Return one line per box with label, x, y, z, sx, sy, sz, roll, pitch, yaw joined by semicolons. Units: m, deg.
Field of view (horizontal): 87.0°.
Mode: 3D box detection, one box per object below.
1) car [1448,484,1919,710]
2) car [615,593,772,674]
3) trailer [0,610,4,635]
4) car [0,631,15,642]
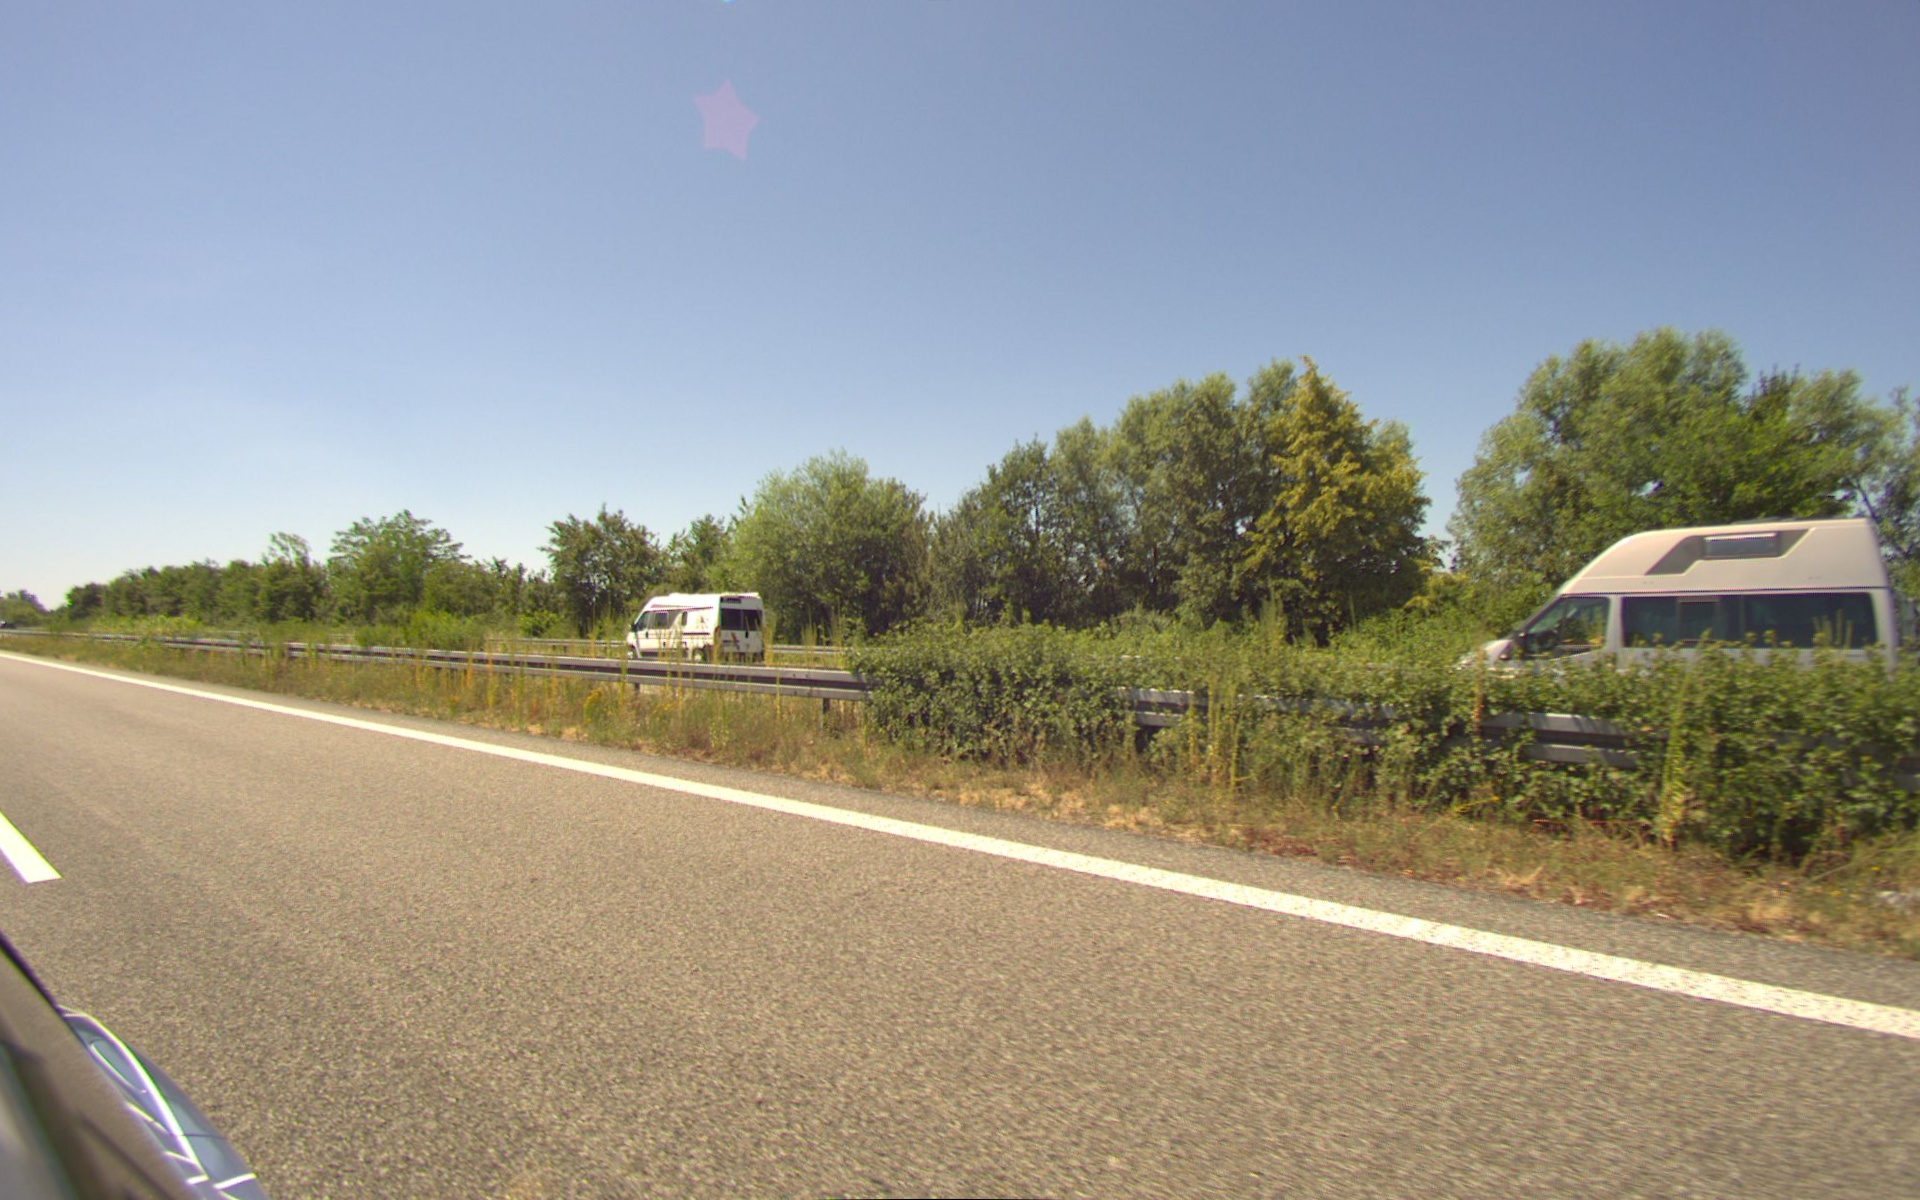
car;9.307;0.016;12.777;5.294;2.380;2.187;-1;-2;40
car;-9.066;1.109;34.046;6.012;2.482;2.081;-1;-2;41
trailer;-169.909;3.940;176.439;13.531;4.218;3.263;-2;-3;41
car;-123.948;4.667;130.946;4.528;1.412;1.843;-1;-3;41
